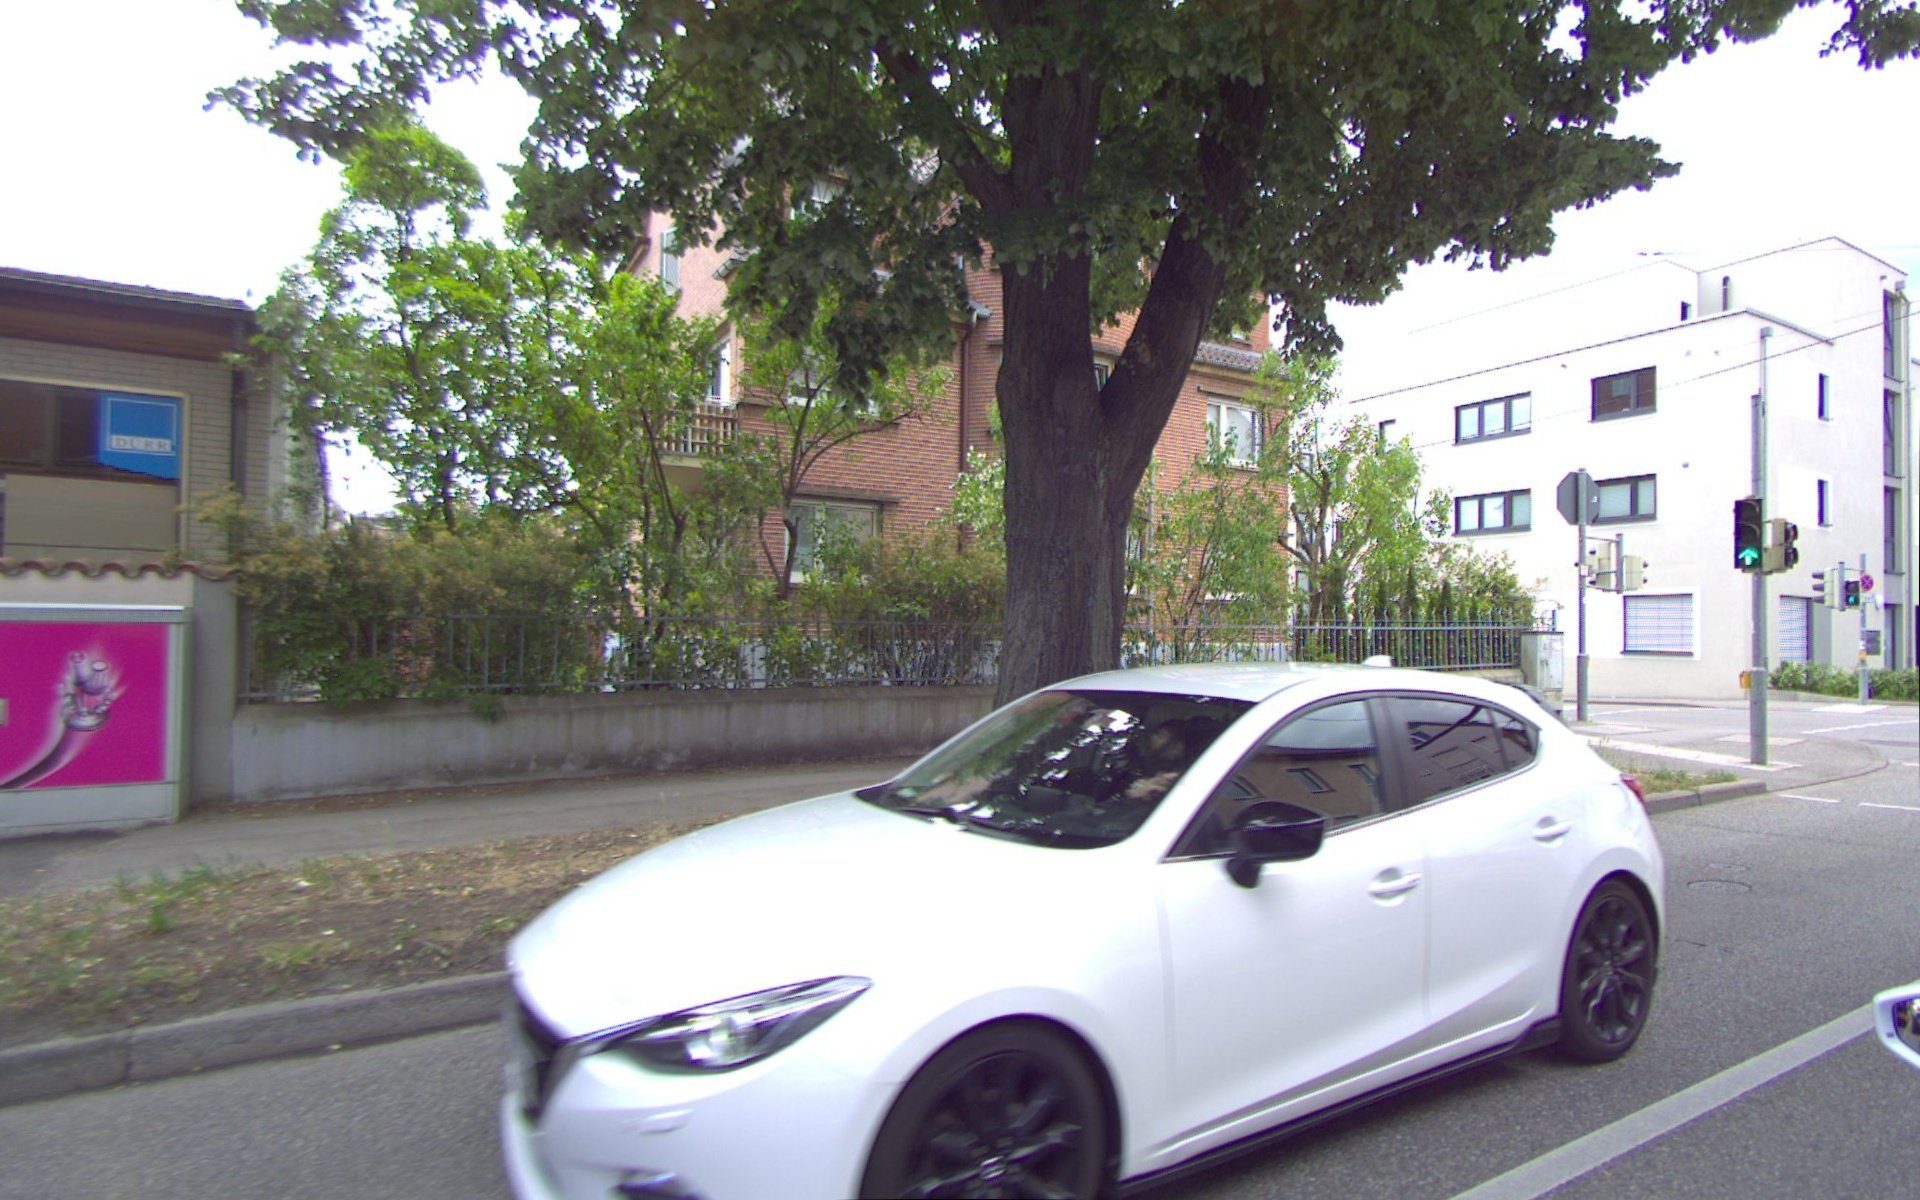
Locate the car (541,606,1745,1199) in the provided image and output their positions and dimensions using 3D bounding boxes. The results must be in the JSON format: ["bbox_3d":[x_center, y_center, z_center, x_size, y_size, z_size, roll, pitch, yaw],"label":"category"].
[{"bbox_3d":[0.829,0.878,3.684,4.177,1.488,1.759,2,-5,-30],"label":"car"}]
